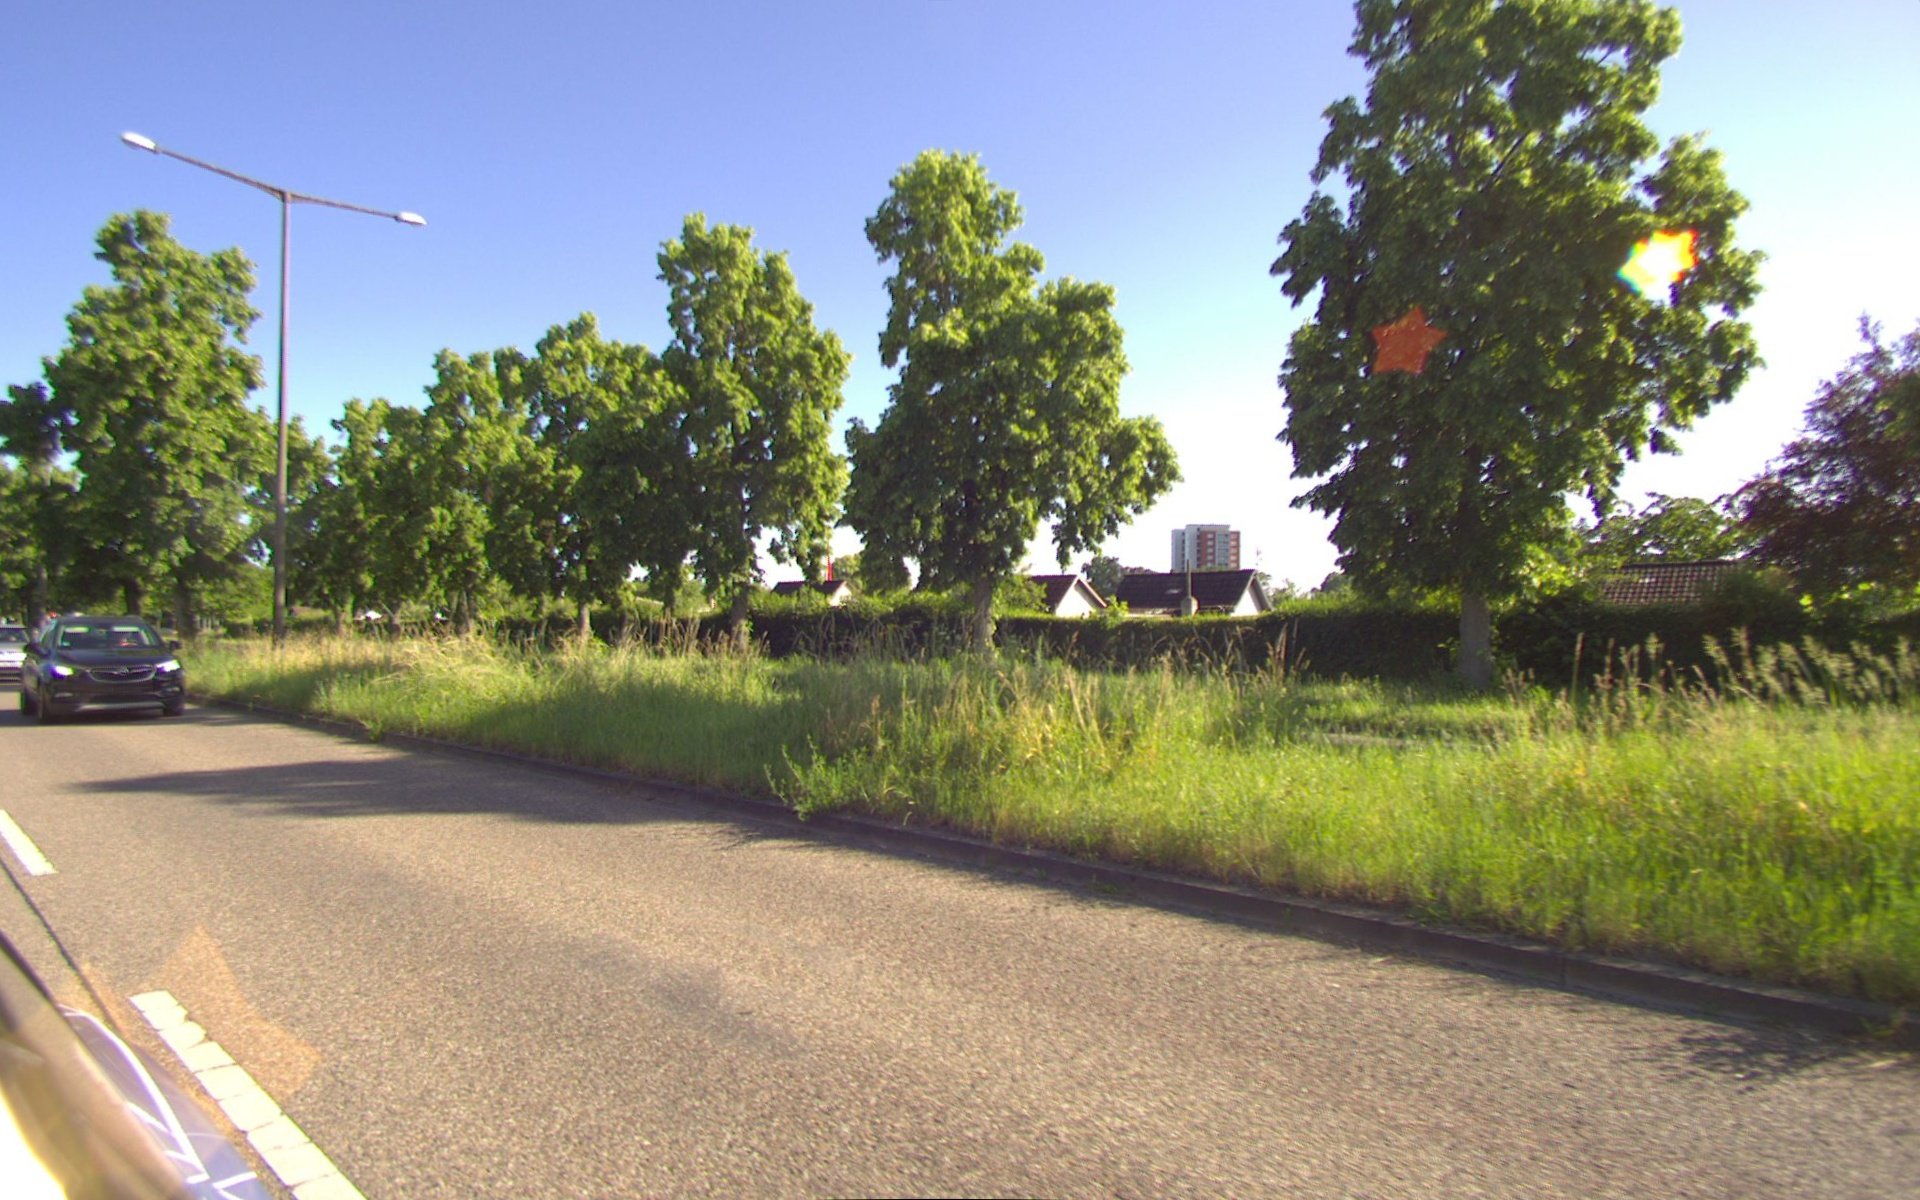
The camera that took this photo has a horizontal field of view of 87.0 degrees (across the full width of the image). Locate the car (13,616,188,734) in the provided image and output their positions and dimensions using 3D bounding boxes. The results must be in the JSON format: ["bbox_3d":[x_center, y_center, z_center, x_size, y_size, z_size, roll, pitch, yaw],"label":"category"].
[{"bbox_3d":[-13.999,1.122,16.420,3.855,1.675,1.691,-2,-2,42],"label":"car"}]

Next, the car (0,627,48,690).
[{"bbox_3d":[-26.500,1.561,27.695,4.090,1.626,1.807,-2,-2,41],"label":"car"}]
